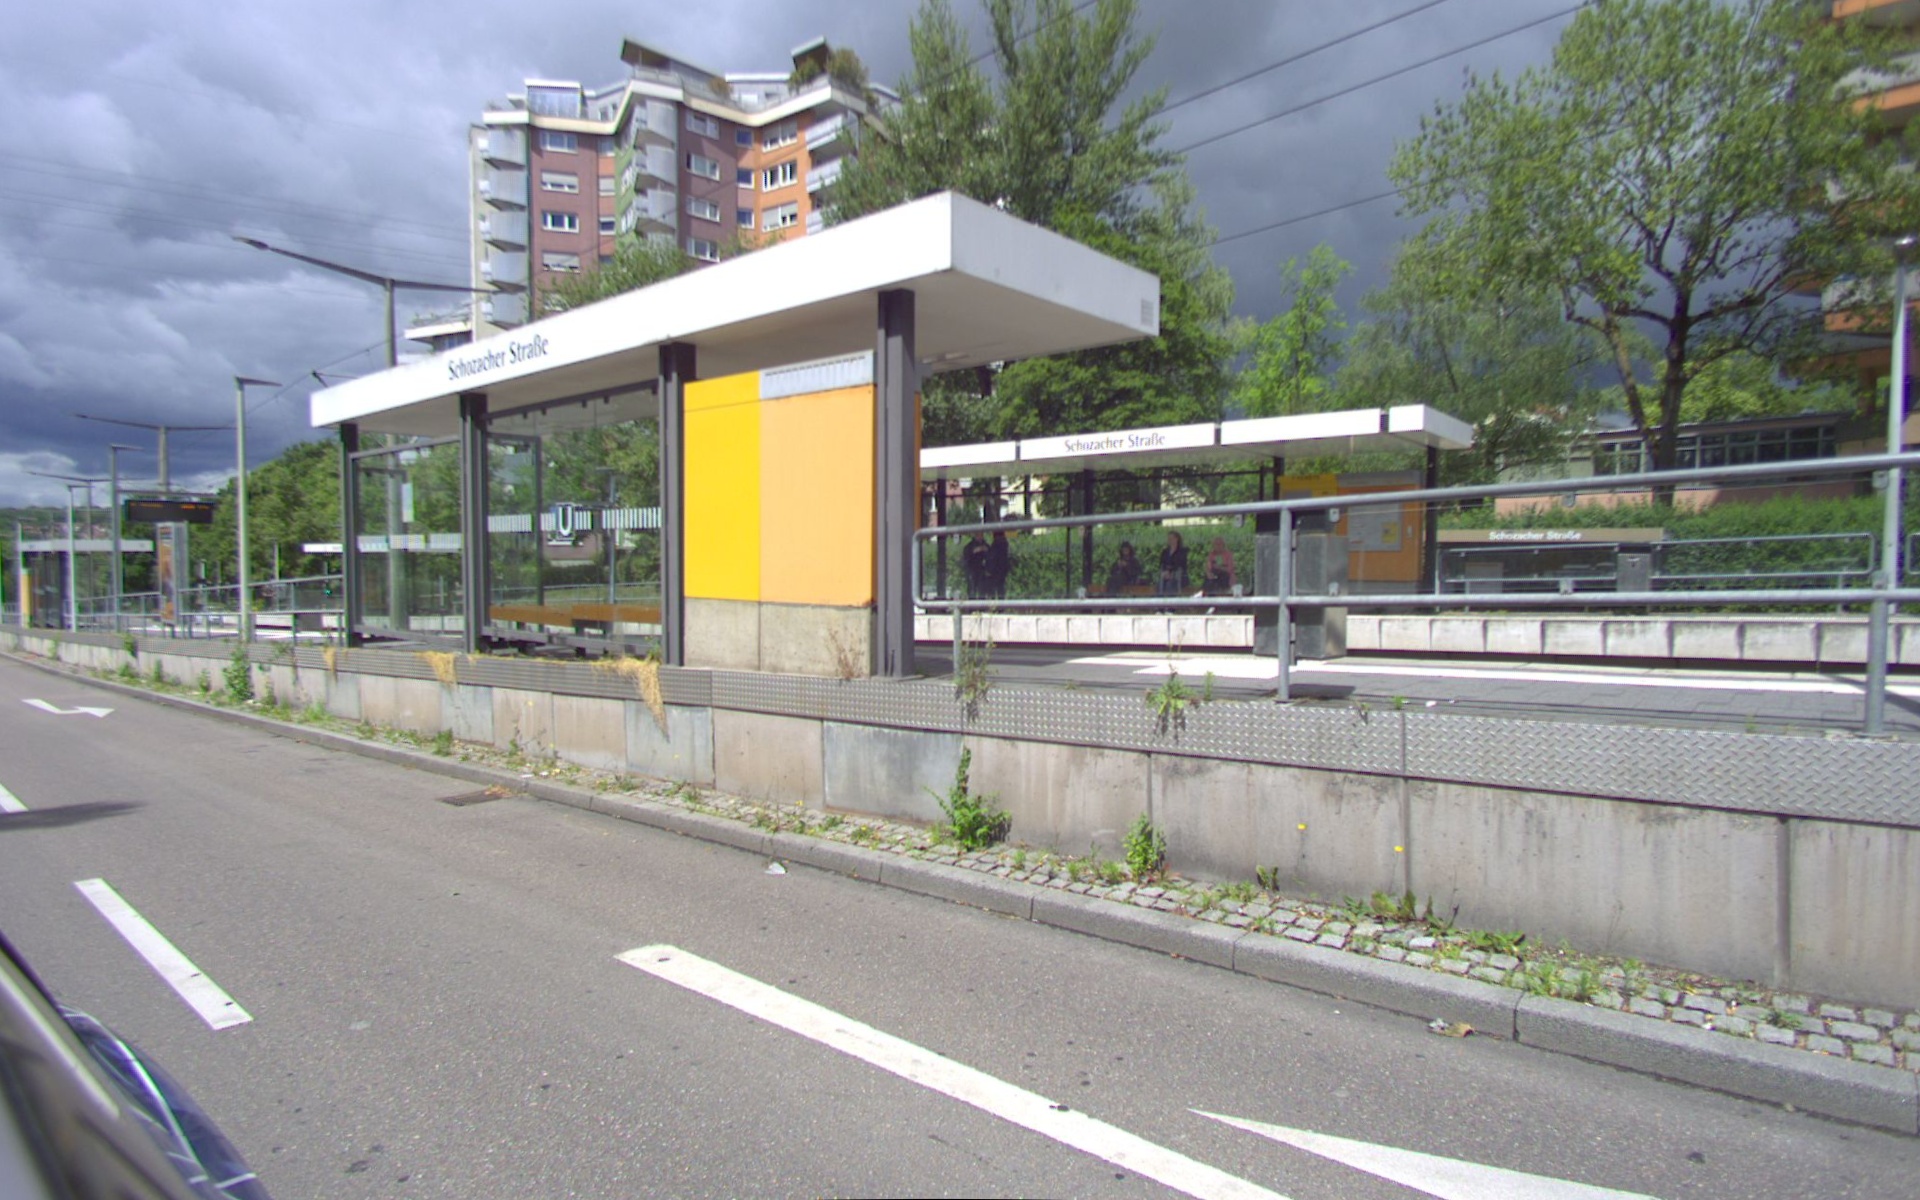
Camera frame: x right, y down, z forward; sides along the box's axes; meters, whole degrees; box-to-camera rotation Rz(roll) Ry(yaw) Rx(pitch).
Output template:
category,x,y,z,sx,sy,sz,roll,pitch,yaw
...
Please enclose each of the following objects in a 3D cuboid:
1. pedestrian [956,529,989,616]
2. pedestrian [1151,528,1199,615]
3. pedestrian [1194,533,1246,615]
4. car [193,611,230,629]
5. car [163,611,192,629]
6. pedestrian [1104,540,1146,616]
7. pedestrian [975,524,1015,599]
category,x,y,z,sx,sy,sz,roll,pitch,yaw
pedestrian,0.252,-0.520,19.627,0.558,1.657,0.520,-1,0,9
pedestrian,3.505,-0.451,16.468,0.506,1.379,0.637,-1,-1,41
pedestrian,4.087,-0.397,15.890,0.517,1.246,0.734,-1,-1,41
car,-59.550,1.579,80.509,3.999,1.429,1.637,-1,0,42
car,-71.443,1.806,92.369,1.635,1.524,3.740,-1,0,-45
pedestrian,2.783,-0.365,17.068,0.541,1.246,0.516,-1,0,29
pedestrian,0.660,-0.720,19.057,0.520,1.390,0.537,2,1,32
